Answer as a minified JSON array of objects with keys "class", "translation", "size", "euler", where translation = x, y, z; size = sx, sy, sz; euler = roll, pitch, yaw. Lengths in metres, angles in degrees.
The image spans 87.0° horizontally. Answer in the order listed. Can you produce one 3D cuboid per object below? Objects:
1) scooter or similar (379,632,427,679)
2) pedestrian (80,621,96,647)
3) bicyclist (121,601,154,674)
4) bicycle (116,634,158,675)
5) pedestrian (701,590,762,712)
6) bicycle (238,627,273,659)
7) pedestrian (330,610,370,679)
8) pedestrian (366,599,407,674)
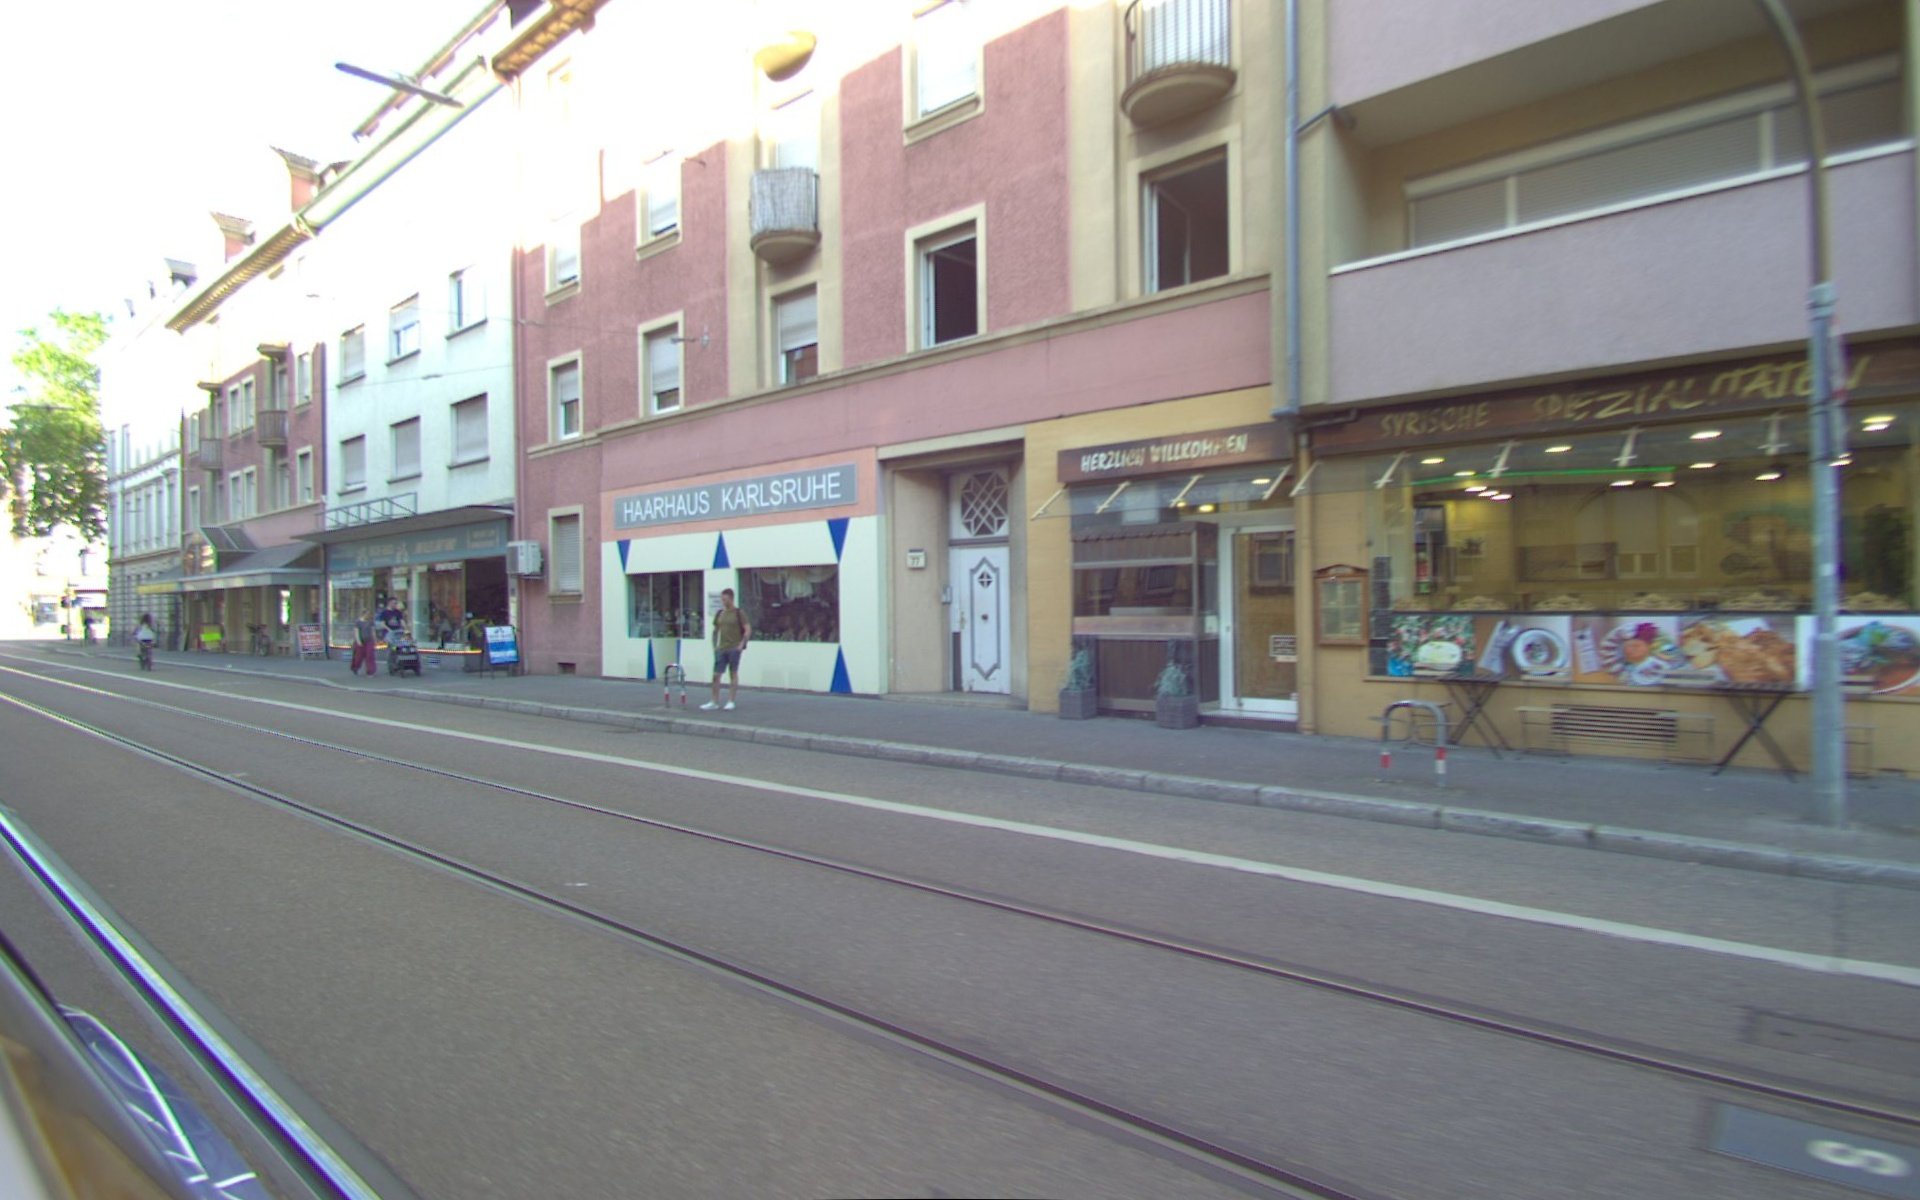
[{"class":"scooter or similar","translation":[-13.322,1.312,24.203],"size":[1.104,1.069,0.655],"euler":[-2,0,42]},{"class":"pedestrian","translation":[-64.393,2.476,74.756],"size":[0.809,1.861,0.784],"euler":[-1,0,44]},{"class":"bicyclist","translation":[-23.551,1.057,28.968],"size":[0.733,2.029,0.605],"euler":[-1,0,41]},{"class":"bicycle","translation":[-23.649,1.553,29.068],"size":[2.043,1.104,0.595],"euler":[-1,-2,42]},{"class":"pedestrian","translation":[-3.276,0.710,14.509],"size":[0.616,1.698,0.557],"euler":[-1,0,40]},{"class":"bicycle","translation":[-24.361,1.467,34.961],"size":[2.328,1.067,0.420],"euler":[-1,0,41]},{"class":"pedestrian","translation":[-14.244,1.030,23.632],"size":[0.623,1.560,0.629],"euler":[-1,0,41]},{"class":"pedestrian","translation":[-14.097,0.879,24.864],"size":[0.820,1.803,0.619],"euler":[-1,0,41]}]
